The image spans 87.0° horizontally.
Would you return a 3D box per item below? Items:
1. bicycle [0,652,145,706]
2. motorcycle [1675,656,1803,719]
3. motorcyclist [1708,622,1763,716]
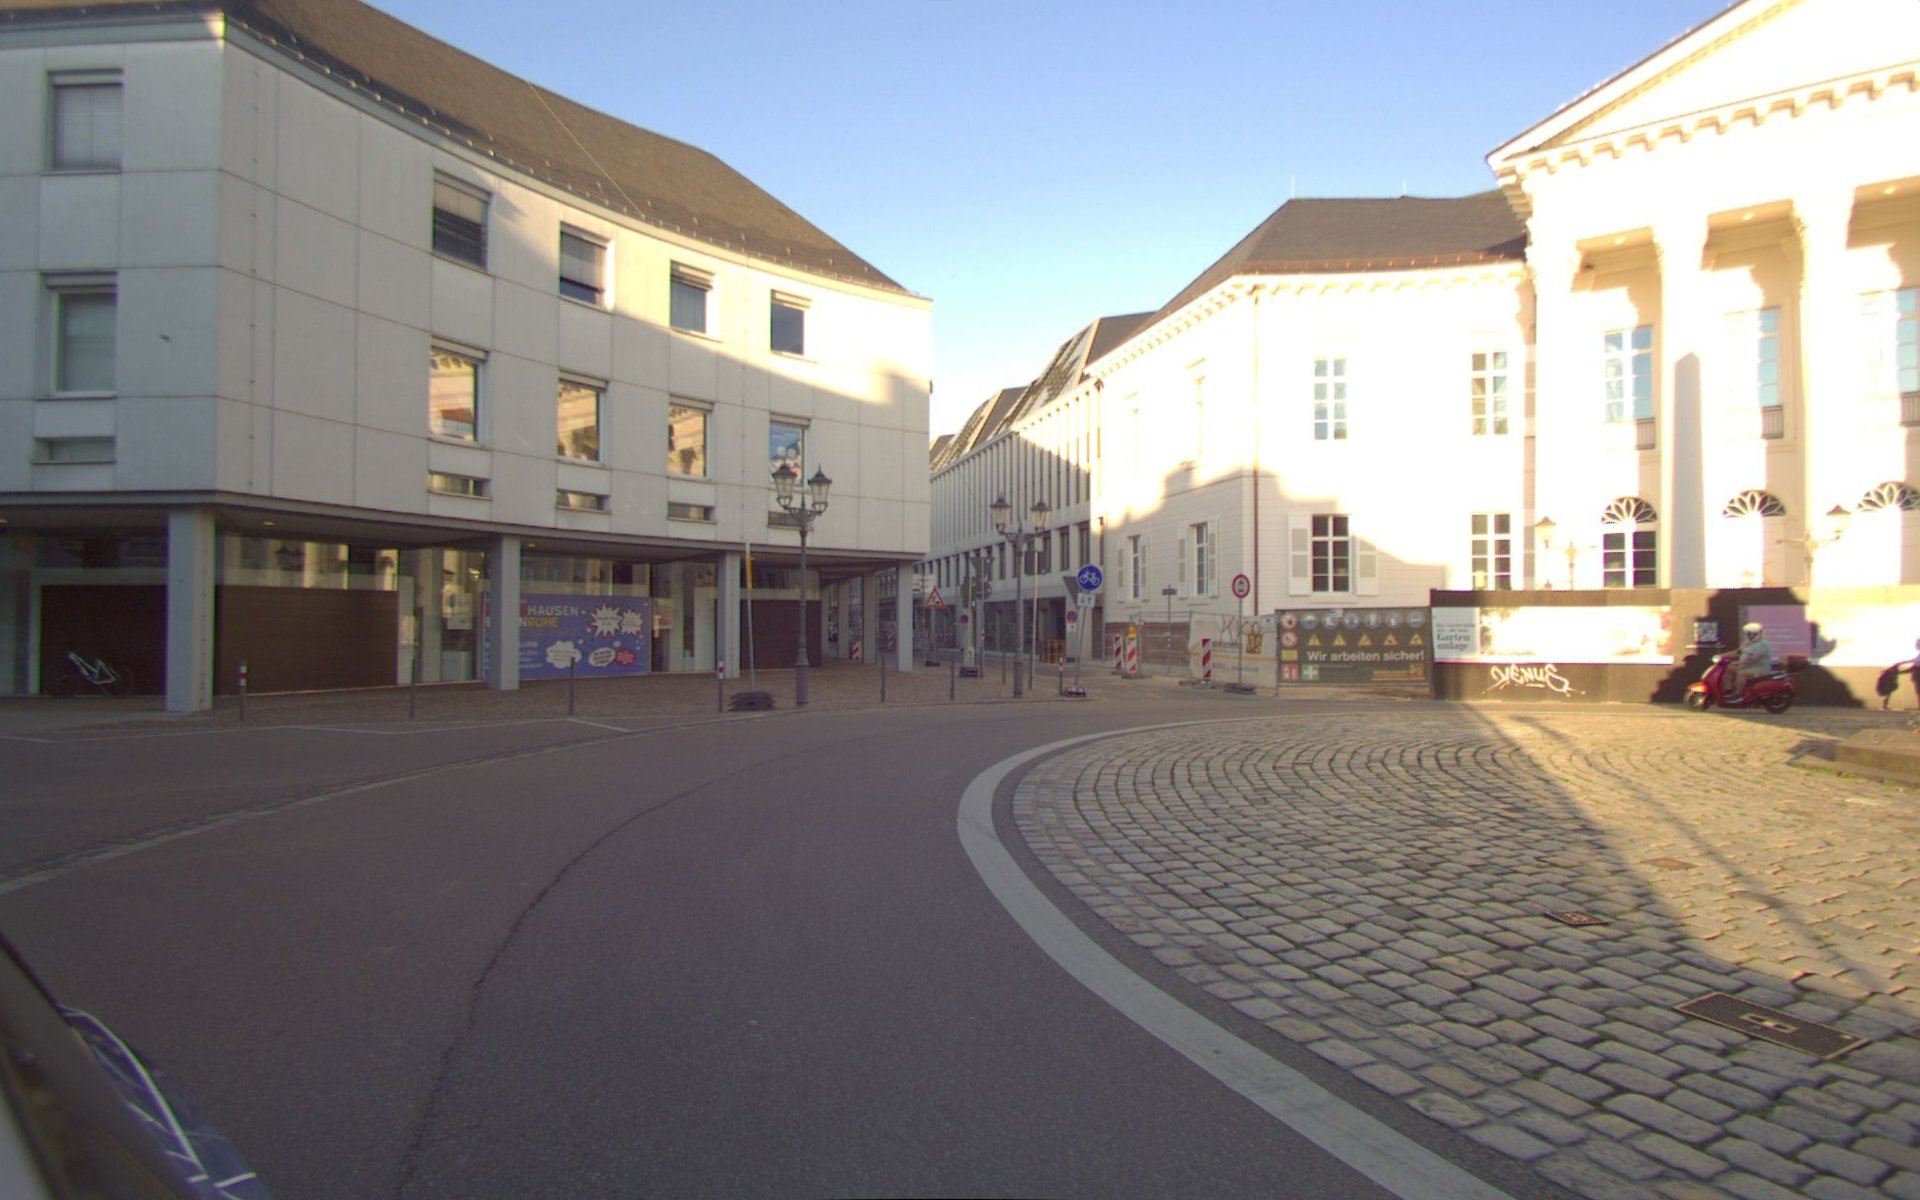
[{"bbox_3d":[-17.208,1.523,19.580,2.303,0.991,0.735,0,-1,1],"label":"bicycle"},{"bbox_3d":[14.046,1.554,18.276,0.593,1.039,1.756,2,-2,-44],"label":"motorcycle"},{"bbox_3d":[14.025,1.231,18.303,0.593,1.665,0.692,2,-2,-45],"label":"motorcyclist"}]
